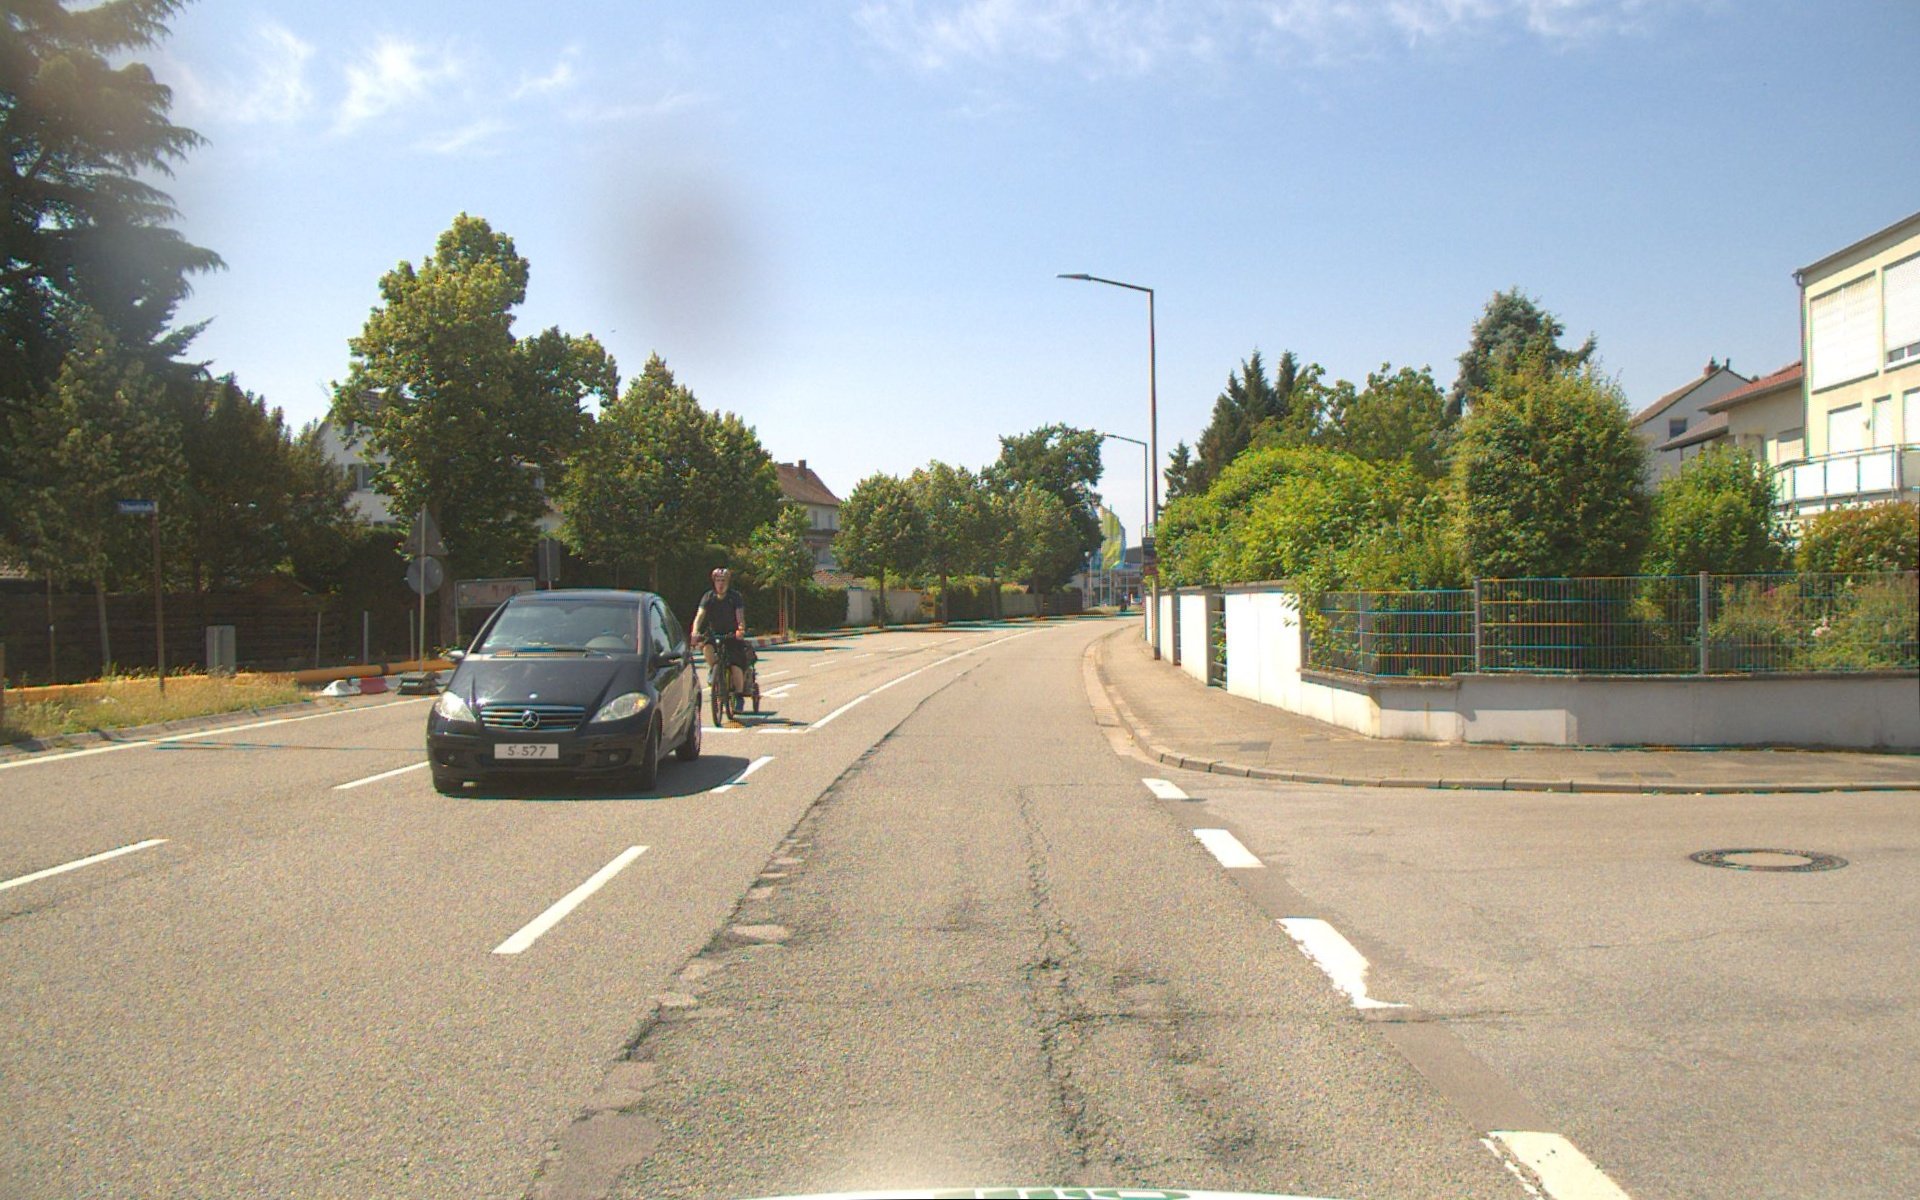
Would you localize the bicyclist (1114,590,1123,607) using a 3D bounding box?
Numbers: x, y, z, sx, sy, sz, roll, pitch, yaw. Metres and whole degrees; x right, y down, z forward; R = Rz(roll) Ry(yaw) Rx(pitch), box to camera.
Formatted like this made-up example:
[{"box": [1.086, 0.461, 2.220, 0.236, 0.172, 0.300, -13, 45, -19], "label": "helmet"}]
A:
[{"box": [13.615, -0.138, 142.075, 0.615, 1.433, 0.677, -1, 0, 13], "label": "bicyclist"}]

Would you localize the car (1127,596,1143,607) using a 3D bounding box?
[{"box": [23.009, 0.202, 217.564, 1.582, 1.445, 3.715, -3, 0, 13], "label": "car"}]

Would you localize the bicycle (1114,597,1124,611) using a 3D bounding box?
[{"box": [13.644, 0.350, 142.159, 0.619, 1.200, 1.817, -1, 0, 13], "label": "bicycle"}]

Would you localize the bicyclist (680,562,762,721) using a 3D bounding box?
[{"box": [-2.908, 0.497, 20.235, 0.828, 1.898, 0.976, 0, 0, 1], "label": "bicyclist"}]

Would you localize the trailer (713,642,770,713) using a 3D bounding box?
[{"box": [-2.873, 1.007, 21.820, 0.558, 0.871, 1.132, -2, 0, 1], "label": "trailer"}]

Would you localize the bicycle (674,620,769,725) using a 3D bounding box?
[{"box": [-2.898, 0.860, 20.259, 0.833, 1.186, 1.977, 0, 0, 1], "label": "bicycle"}]

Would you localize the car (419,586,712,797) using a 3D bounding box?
[{"box": [-3.215, 0.679, 14.200, 1.690, 1.559, 3.829, 0, 0, -2], "label": "car"}]

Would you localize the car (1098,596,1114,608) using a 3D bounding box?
[{"box": [19.268, 0.265, 218.107, 1.582, 1.445, 3.715, -3, 0, 13], "label": "car"}]
